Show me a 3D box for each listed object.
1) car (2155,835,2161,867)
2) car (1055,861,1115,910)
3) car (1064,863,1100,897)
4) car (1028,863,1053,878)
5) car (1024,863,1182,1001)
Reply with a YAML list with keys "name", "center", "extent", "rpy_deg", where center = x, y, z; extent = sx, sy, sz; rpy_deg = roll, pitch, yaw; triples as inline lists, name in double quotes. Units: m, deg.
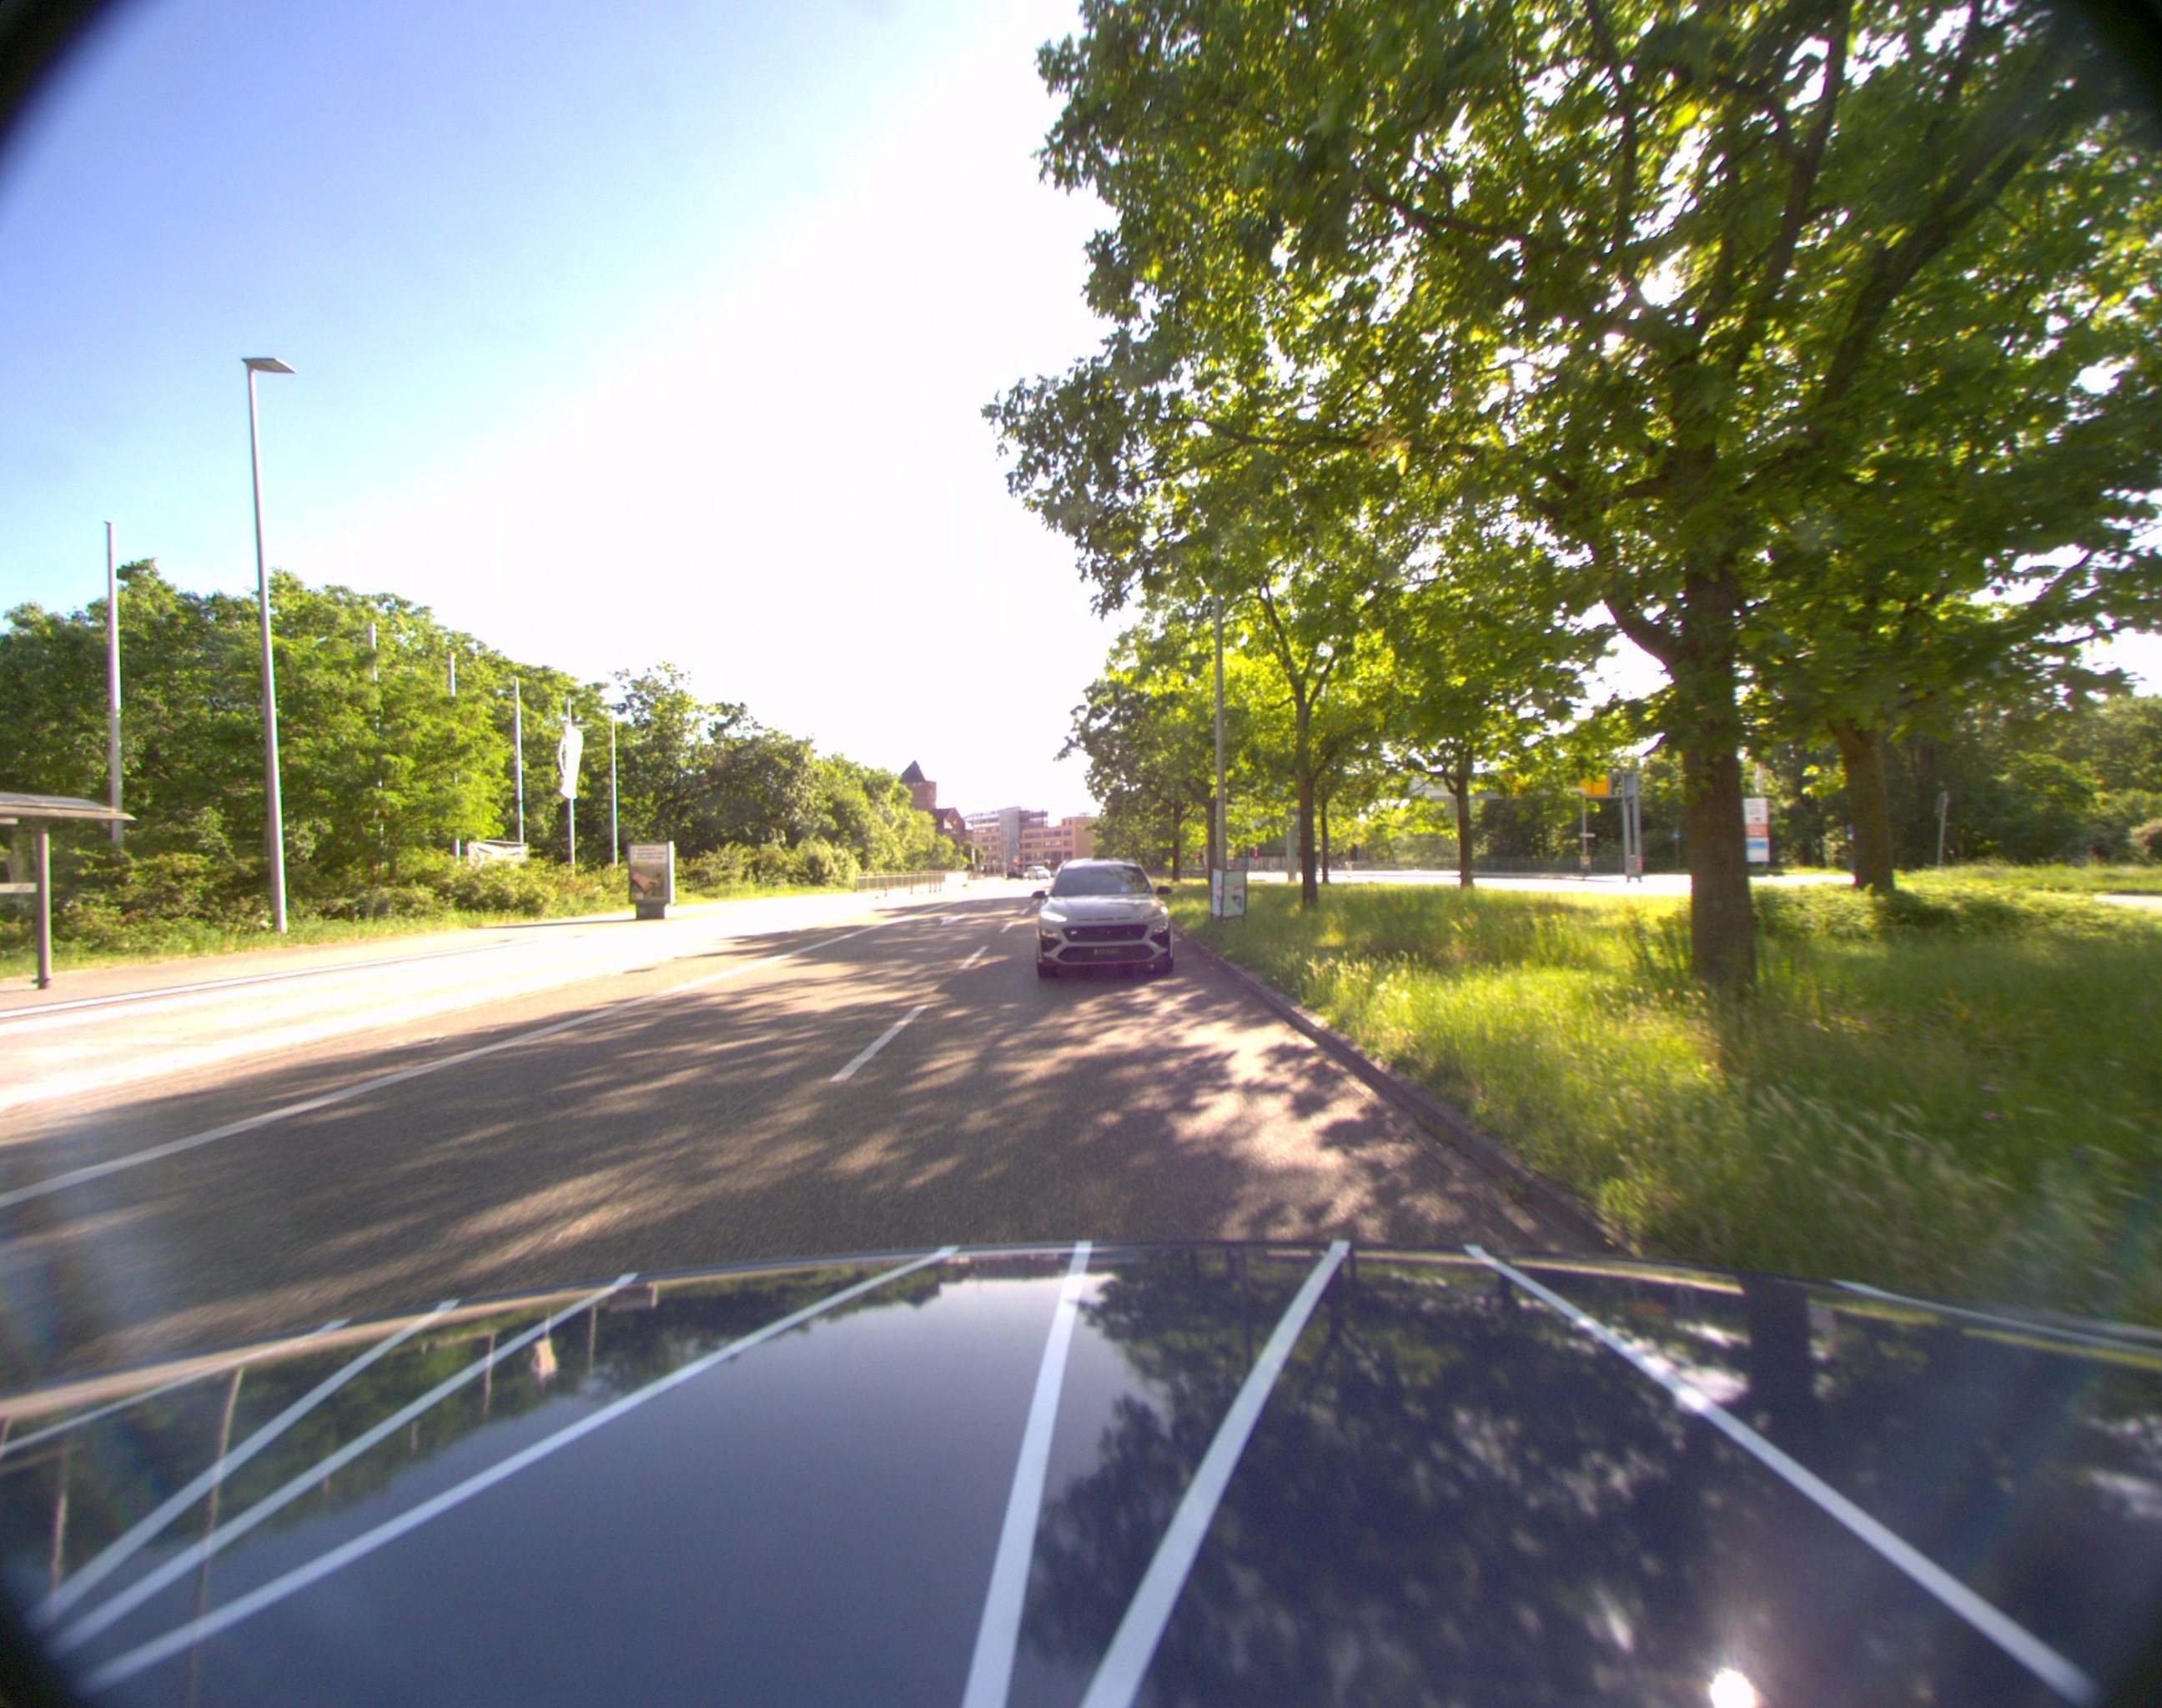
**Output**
- name: "car"
  center: [53.367, -0.211, 34.872]
  extent: [2.003, 1.455, 4.547]
  rpy_deg: [-3, 1, -30]
- name: "car"
  center: [0.207, 1.039, 26.758]
  extent: [1.744, 1.539, 4.002]
  rpy_deg: [-2, 0, 5]
- name: "car"
  center: [0.044, 1.245, 37.938]
  extent: [1.678, 1.499, 3.948]
  rpy_deg: [-2, 0, 0]
- name: "car"
  center: [-5.519, 2.327, 103.628]
  extent: [1.749, 1.537, 3.995]
  rpy_deg: [2, -9, -31]
- name: "car"
  center: [0.281, 0.927, 10.791]
  extent: [1.780, 1.542, 3.980]
  rpy_deg: [-2, 0, 1]
